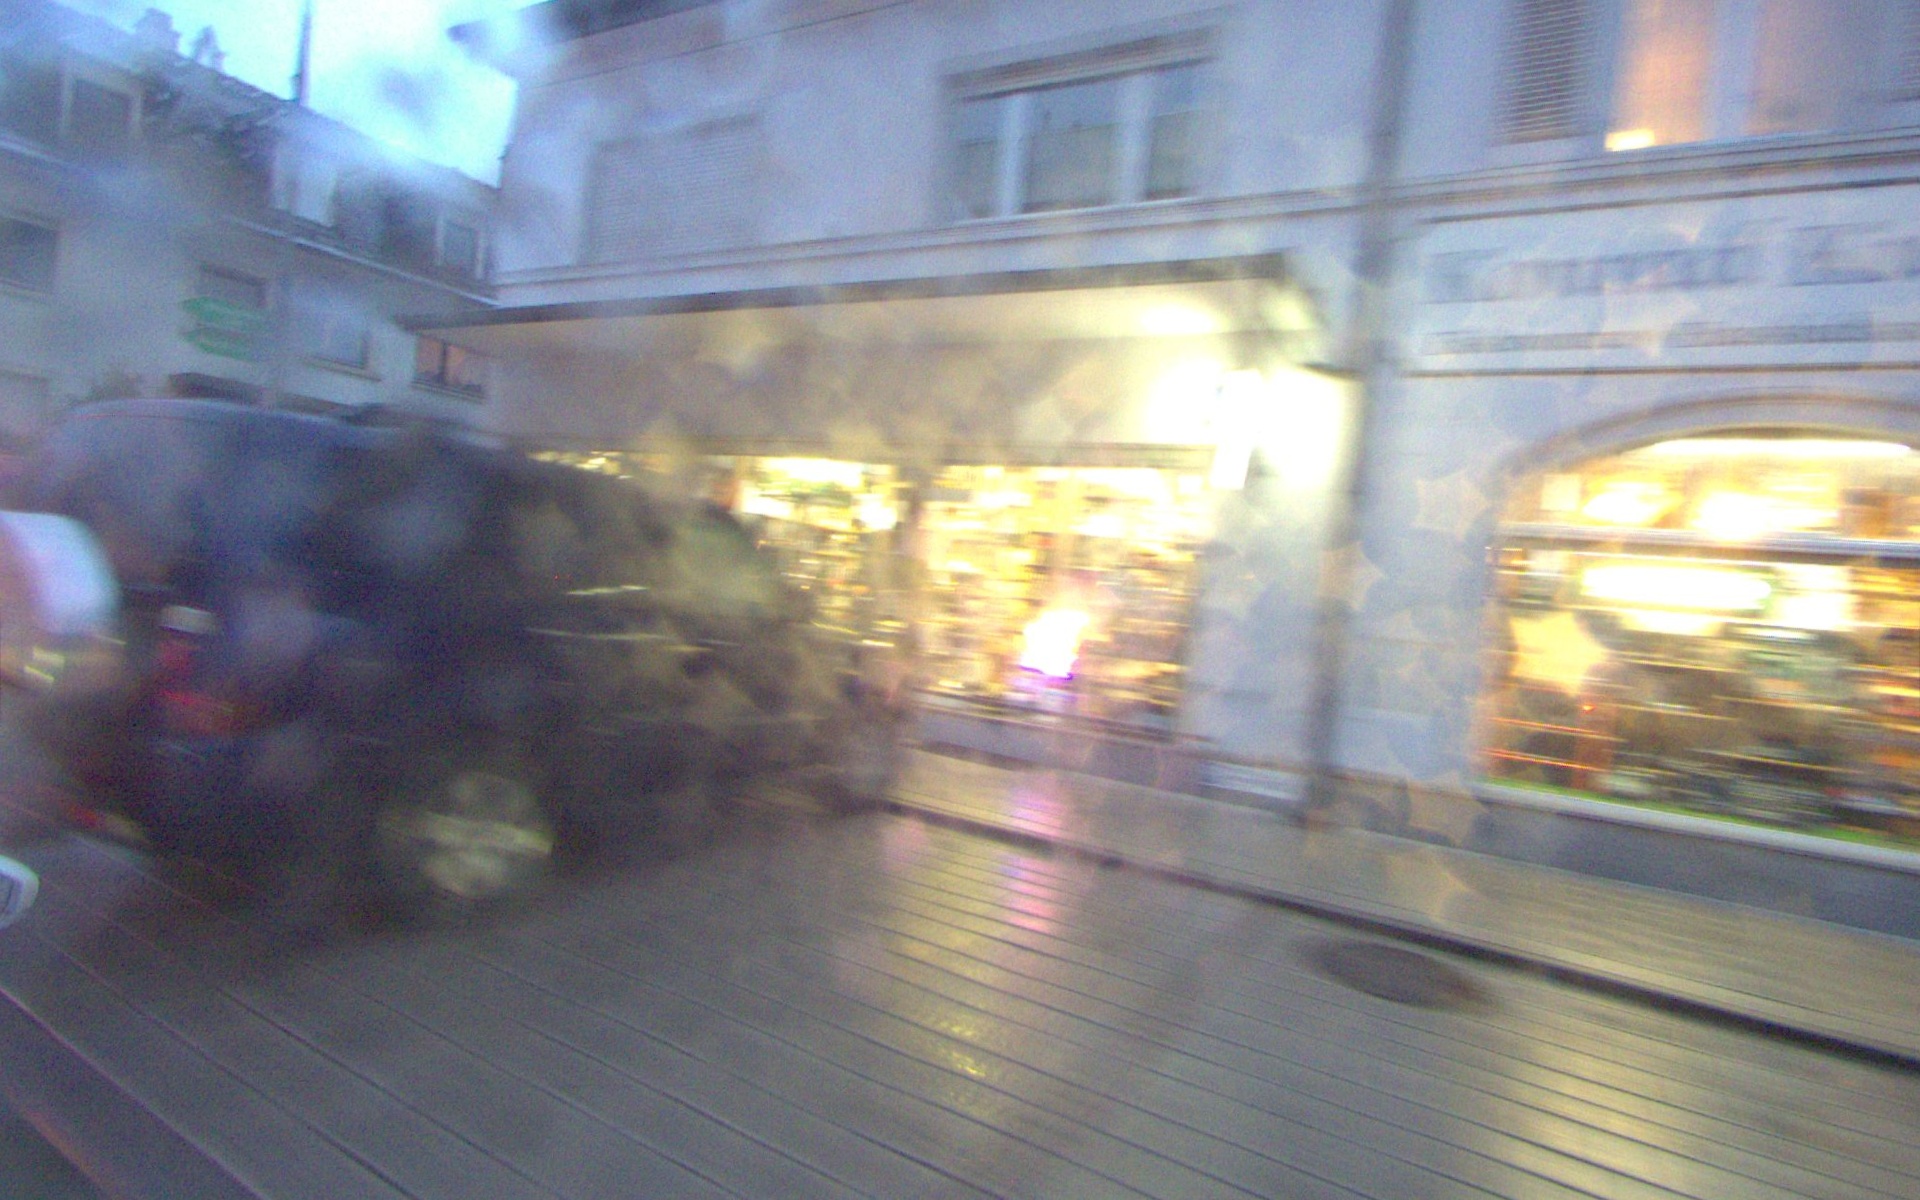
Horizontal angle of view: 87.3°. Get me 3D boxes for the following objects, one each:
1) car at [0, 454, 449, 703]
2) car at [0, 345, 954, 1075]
[{"bbox_3d":[-6.378,-0.163,7.945,1.652,1.599,3.877,7,1,26],"label":"car"},{"bbox_3d":[-2.021,0.272,4.946,1.911,1.798,4.611,7,1,27],"label":"car"}]
